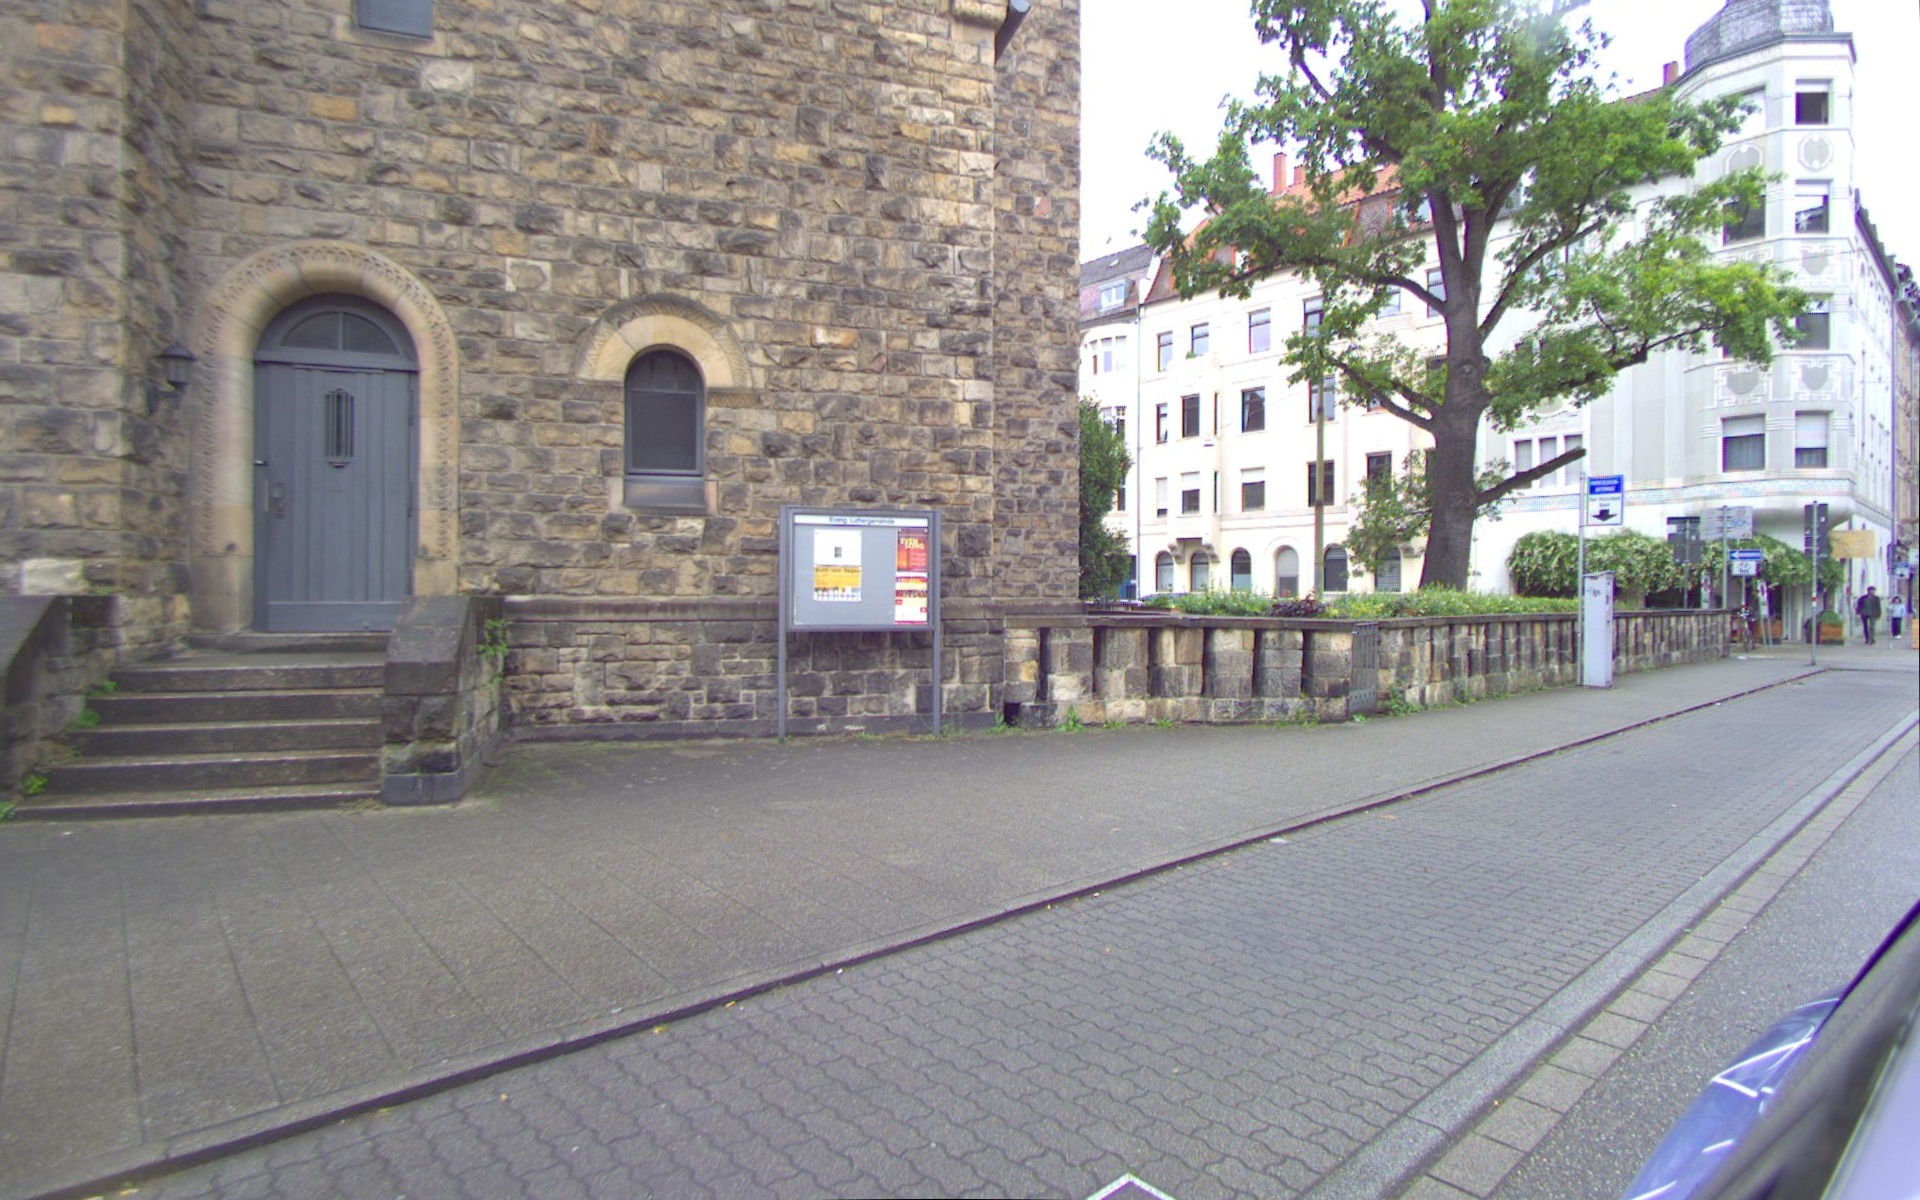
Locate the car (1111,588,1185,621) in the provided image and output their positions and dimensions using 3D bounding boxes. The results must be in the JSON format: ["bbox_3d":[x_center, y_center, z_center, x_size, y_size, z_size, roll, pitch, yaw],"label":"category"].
[{"bbox_3d":[8.746,0.175,47.146,1.421,1.427,3.271,0,1,-38],"label":"car"}]

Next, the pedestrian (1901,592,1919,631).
[{"bbox_3d":[36.550,0.444,38.924,0.385,1.479,0.481,1,1,-41],"label":"pedestrian"}]

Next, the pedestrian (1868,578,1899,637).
[{"bbox_3d":[30.063,0.230,32.954,0.681,1.896,0.645,0,1,-42],"label":"pedestrian"}]

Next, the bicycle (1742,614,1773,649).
[{"bbox_3d":[23.738,0.920,30.108,1.990,0.904,0.390,-3,3,-42],"label":"bicycle"}]

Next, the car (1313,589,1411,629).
[{"bbox_3d":[15.713,0.328,39.670,1.421,1.427,3.271,0,1,-38],"label":"car"}]
